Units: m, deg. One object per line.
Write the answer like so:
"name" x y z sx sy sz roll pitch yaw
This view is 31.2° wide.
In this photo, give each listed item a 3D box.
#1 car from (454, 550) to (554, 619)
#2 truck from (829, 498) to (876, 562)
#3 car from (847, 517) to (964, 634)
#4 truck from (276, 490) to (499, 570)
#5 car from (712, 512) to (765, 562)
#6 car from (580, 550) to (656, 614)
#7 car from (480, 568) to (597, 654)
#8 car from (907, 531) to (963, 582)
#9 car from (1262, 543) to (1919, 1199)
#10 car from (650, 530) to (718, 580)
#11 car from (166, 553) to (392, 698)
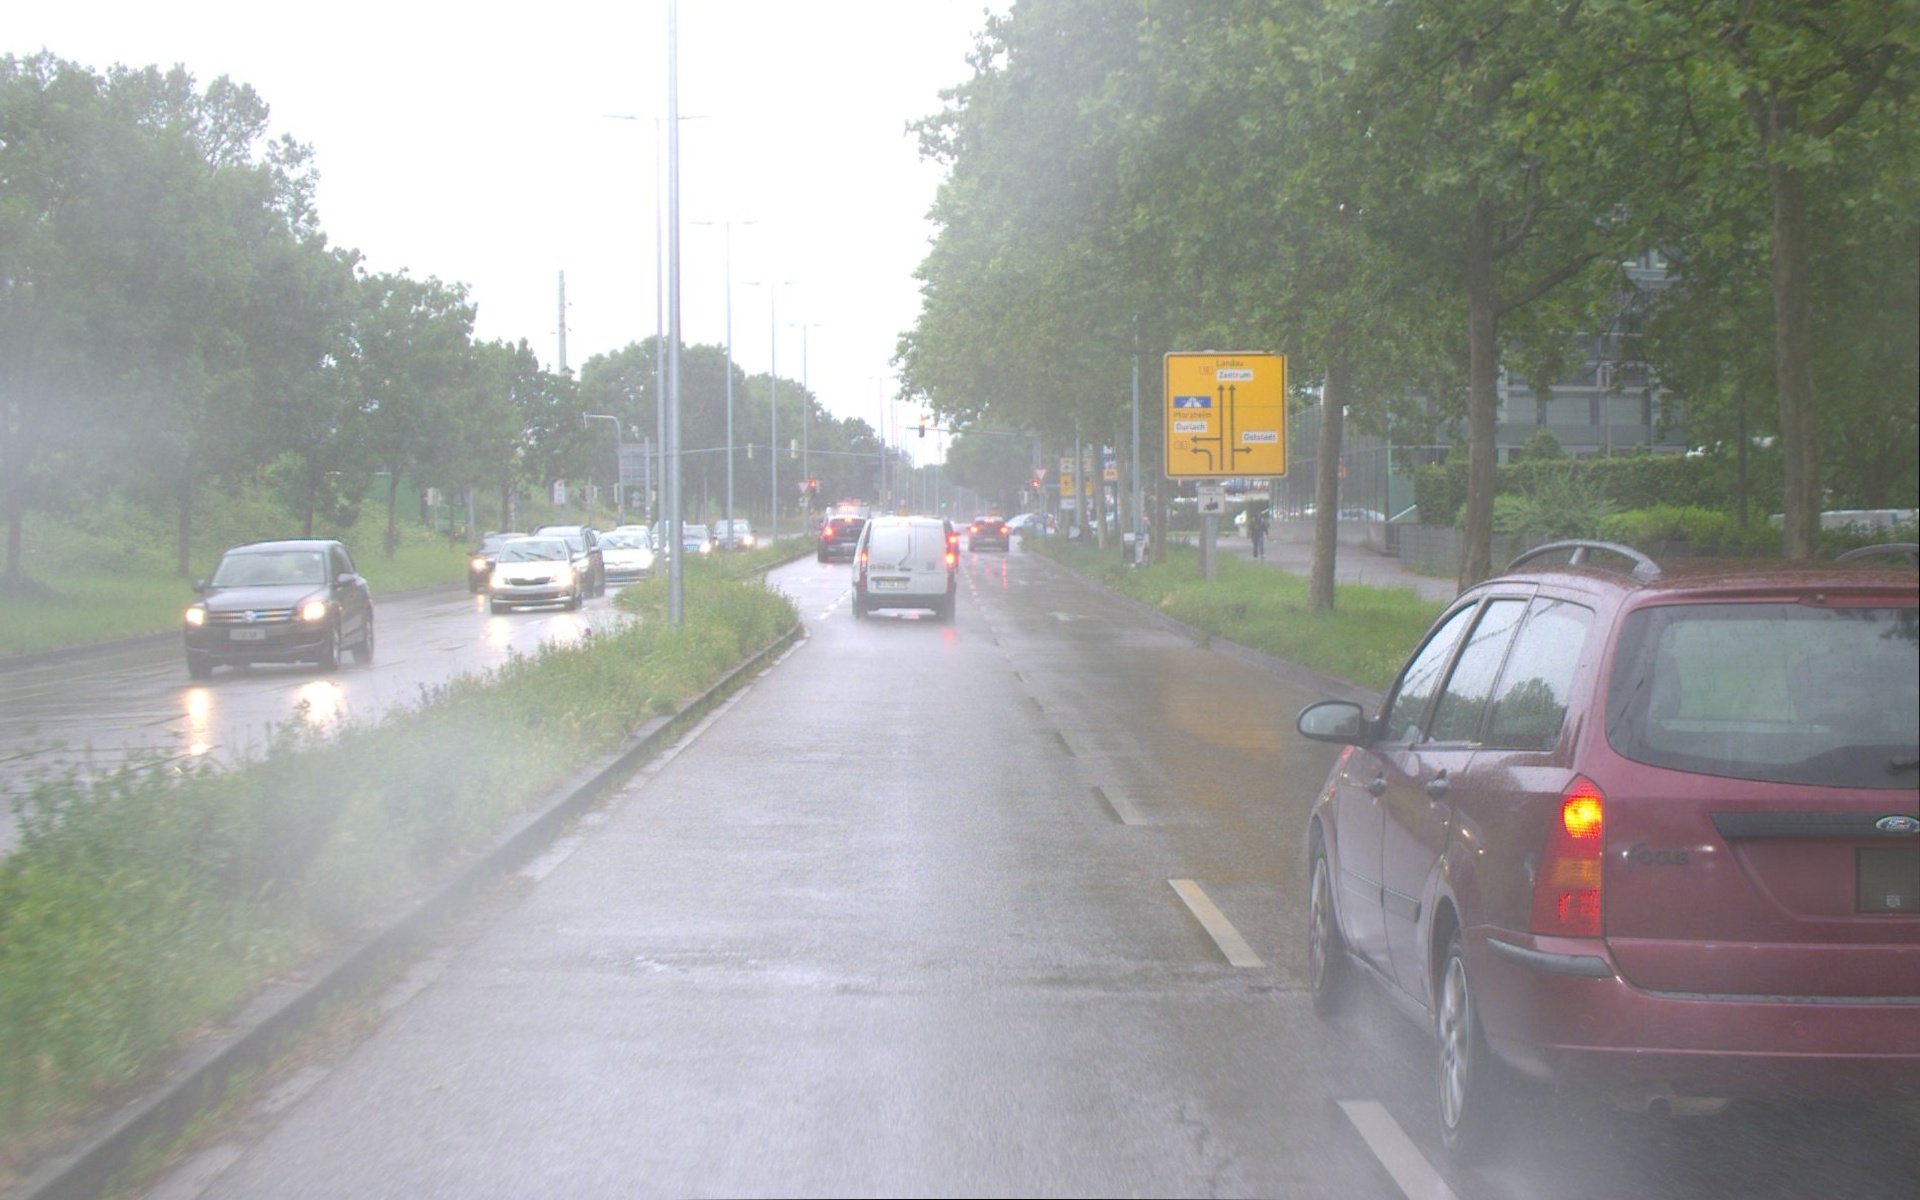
"car" -11.984 -0.431 90.613 1.993 1.682 4.709 -2 1 0
"truck" -4.185 -2.719 133.804 1.756 2.458 4.000 1 1 -2
"car" -1.005 -0.414 61.407 1.993 2.007 4.000 1 0 -2
"truck" -26.529 -3.207 159.686 10.110 3.440 2.658 1 0 -37
"car" -9.216 -2.633 143.506 1.824 1.569 4.361 5 6 -1
"car" -9.091 -0.503 91.583 1.908 1.569 4.710 -2 1 -5
"car" -8.397 0.189 68.826 1.898 1.607 4.112 -1 1 -1
"car" -0.840 -1.431 111.864 1.708 1.544 4.001 0 2 -2
"car" 1.982 0.624 9.383 1.839 1.531 4.112 1 1 -1
"car" -9.418 -1.567 117.668 1.908 1.569 4.709 -3 1 0
"car" -8.408 0.274 42.783 1.898 1.607 4.112 -3 1 1
